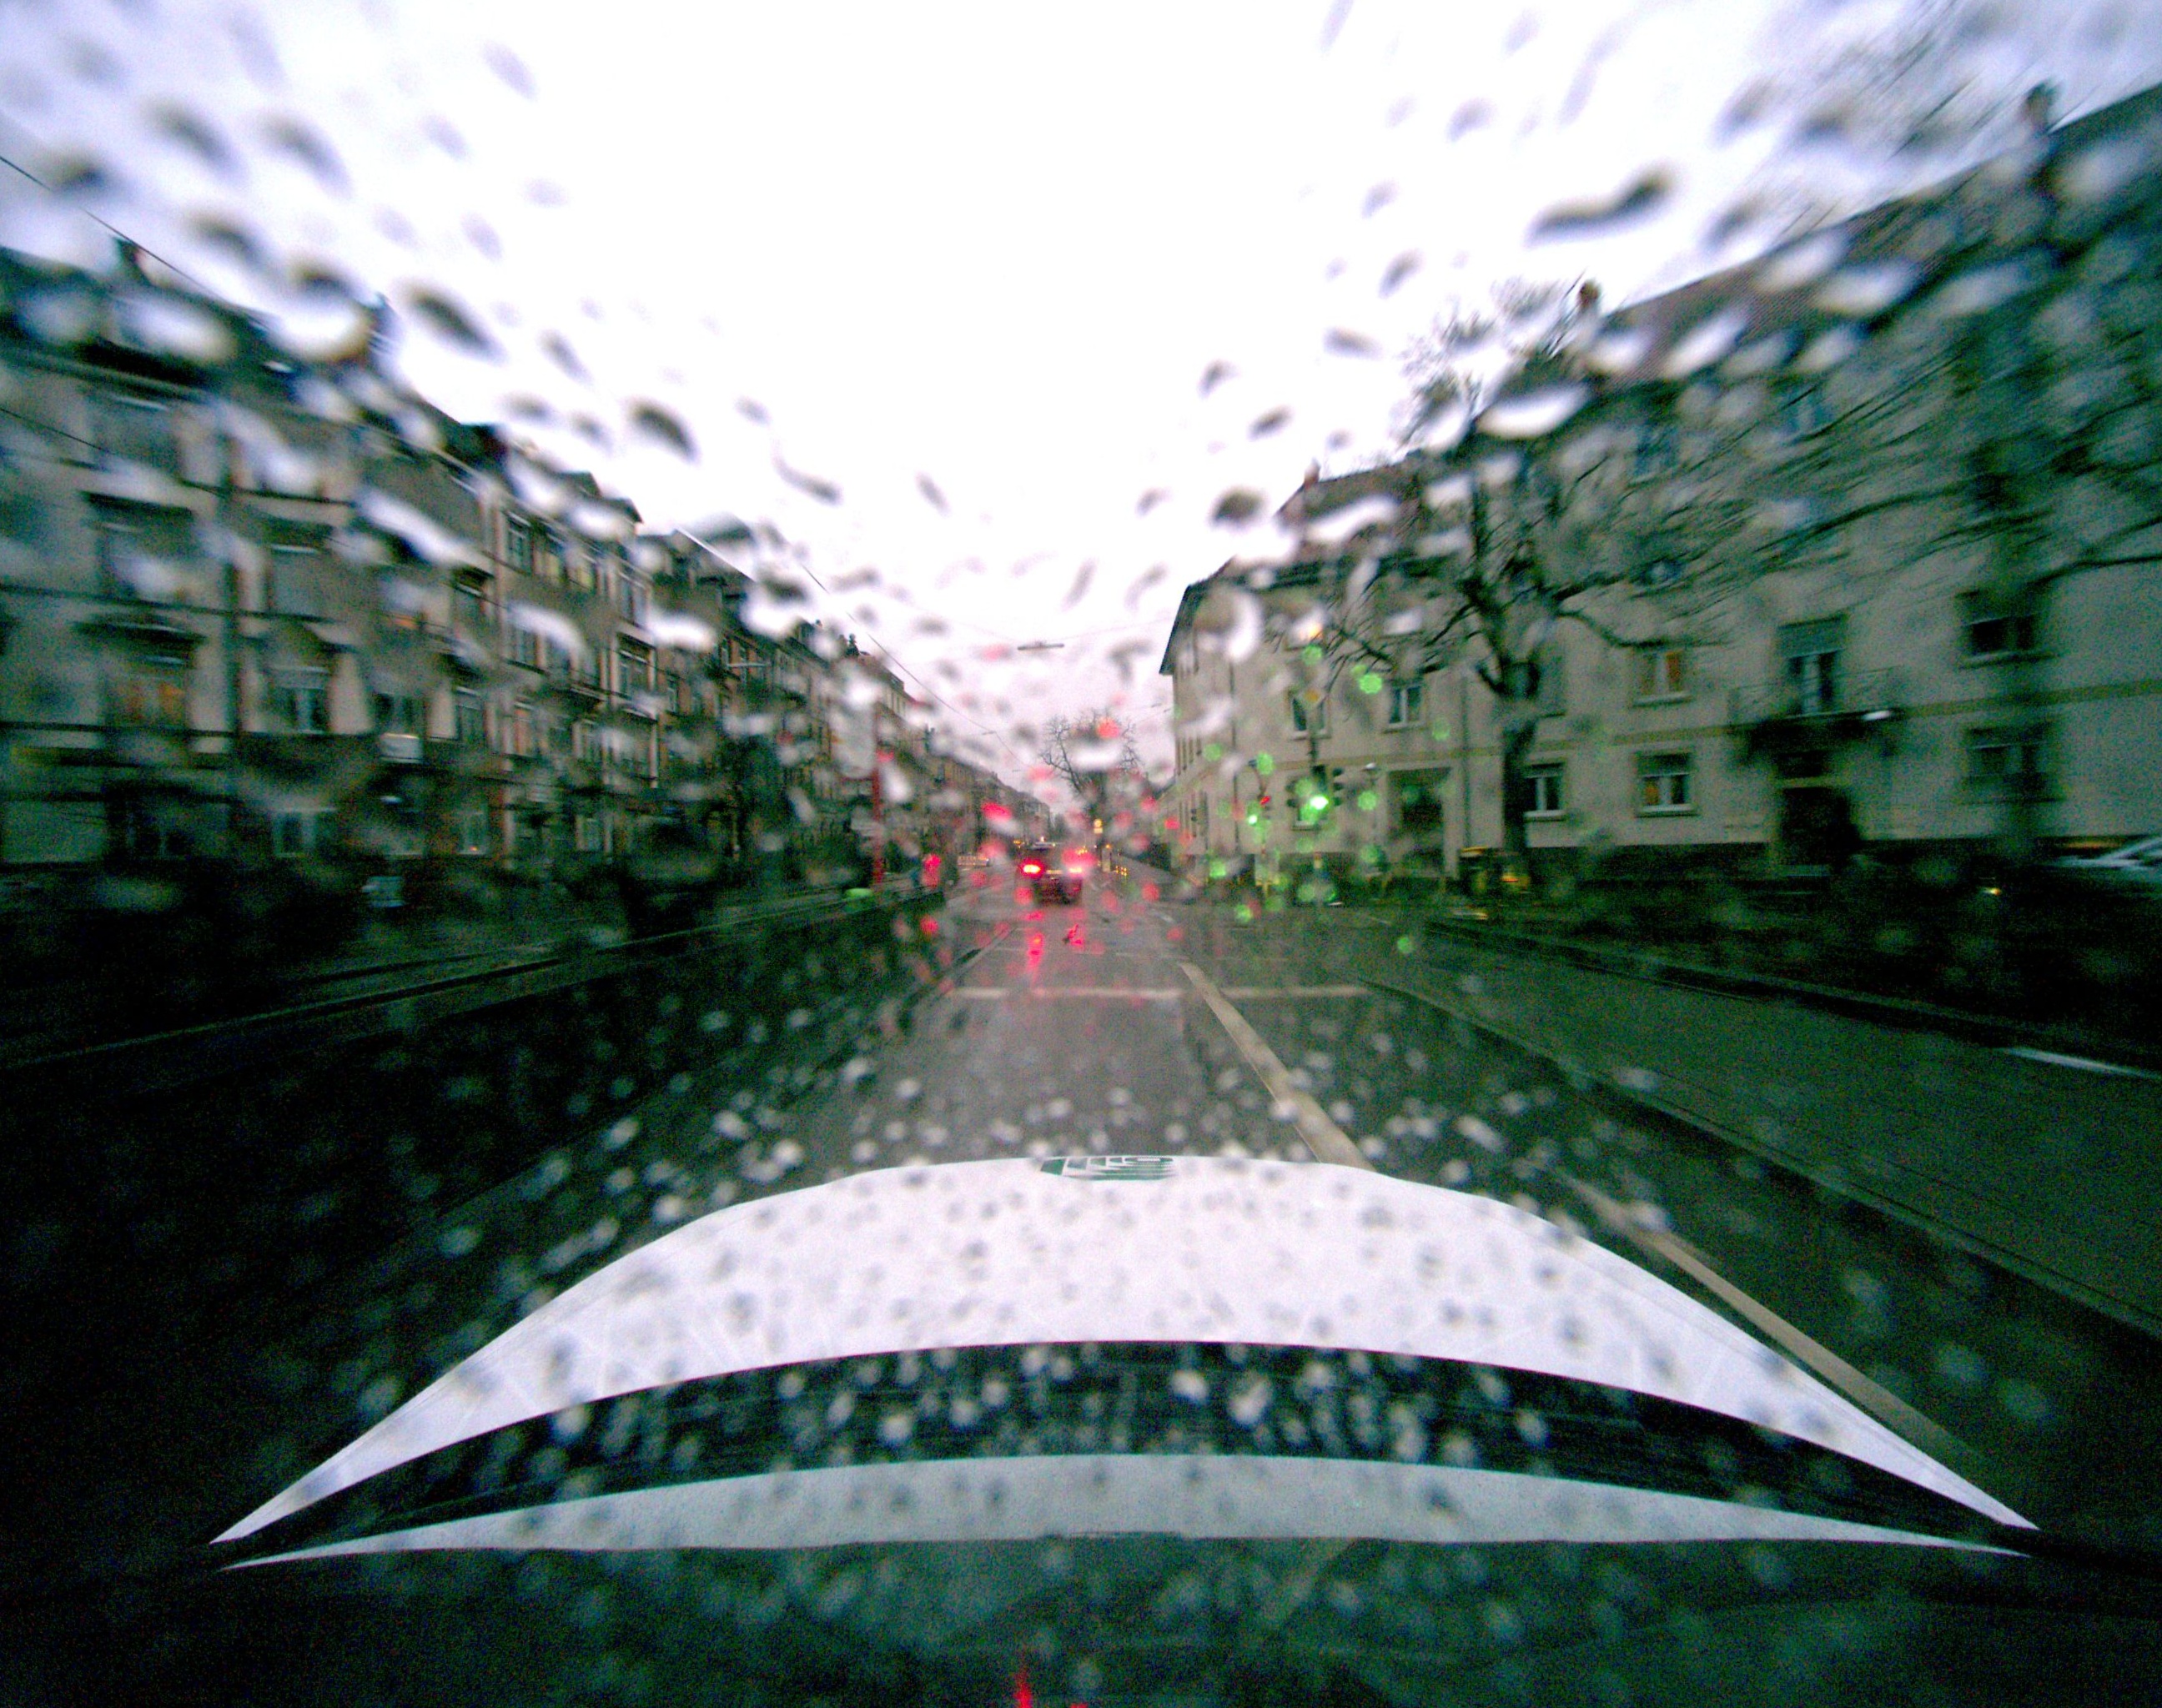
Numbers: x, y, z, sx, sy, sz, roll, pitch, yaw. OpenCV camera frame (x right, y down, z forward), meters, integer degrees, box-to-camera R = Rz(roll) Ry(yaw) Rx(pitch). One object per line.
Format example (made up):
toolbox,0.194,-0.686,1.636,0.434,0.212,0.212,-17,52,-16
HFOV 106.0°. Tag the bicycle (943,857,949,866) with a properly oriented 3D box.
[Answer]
bicycle,-13.828,0.783,83.383,0.262,0.915,1.686,4,1,1

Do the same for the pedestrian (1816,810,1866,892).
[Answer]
pedestrian,15.819,-0.075,16.957,0.692,1.660,0.706,-3,1,-45

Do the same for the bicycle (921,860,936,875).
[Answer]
bicycle,-11.244,0.967,59.976,0.679,1.007,1.804,-2,0,3

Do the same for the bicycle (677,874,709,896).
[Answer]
bicycle,-16.744,1.343,35.177,0.398,0.862,1.850,-1,0,3

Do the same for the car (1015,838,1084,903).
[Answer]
car,-1.062,0.458,25.491,1.800,1.870,4.008,1,0,-7

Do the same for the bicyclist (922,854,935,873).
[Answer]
bicyclist,-11.227,0.717,60.040,0.702,1.364,0.944,0,0,2

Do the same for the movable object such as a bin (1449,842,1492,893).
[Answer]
movable object such as a bin,9.895,0.340,20.710,0.844,1.251,0.525,1,0,44

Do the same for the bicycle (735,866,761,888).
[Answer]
bicycle,-16.358,1.107,40.003,0.414,1.007,1.850,-1,0,3

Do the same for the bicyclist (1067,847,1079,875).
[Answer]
bicyclist,-0.516,0.428,52.271,0.727,1.736,0.766,-1,0,2

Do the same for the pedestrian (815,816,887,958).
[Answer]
pedestrian,-3.236,0.446,11.503,0.682,1.917,0.720,1,0,13

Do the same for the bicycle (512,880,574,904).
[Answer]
bicycle,-19.272,1.353,29.227,0.395,0.759,1.822,-1,0,37

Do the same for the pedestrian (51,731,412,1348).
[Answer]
pedestrian,-2.742,0.542,2.688,0.555,1.807,0.571,1,0,2

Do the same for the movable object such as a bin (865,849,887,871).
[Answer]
movable object such as a bin,-15.220,0.415,60.497,1.238,1.585,1.310,-1,0,6

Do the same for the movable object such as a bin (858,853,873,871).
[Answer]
movable object such as a bin,-15.737,0.587,59.495,0.892,1.292,0.746,-1,0,-1

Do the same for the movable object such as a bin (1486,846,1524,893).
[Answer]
movable object such as a bin,10.498,0.376,20.152,0.692,1.120,0.542,1,0,44

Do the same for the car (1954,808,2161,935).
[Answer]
car,14.006,0.172,9.654,1.907,1.510,4.704,-1,-1,-33

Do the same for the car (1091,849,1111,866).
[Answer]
car,1.878,0.332,75.901,1.779,1.509,3.988,-2,0,1

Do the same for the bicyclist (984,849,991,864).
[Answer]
bicyclist,-10.337,0.262,90.082,0.681,1.616,0.766,-1,0,2

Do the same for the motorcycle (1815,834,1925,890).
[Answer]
motorcycle,16.878,0.163,17.458,0.572,1.105,1.586,-5,2,-34

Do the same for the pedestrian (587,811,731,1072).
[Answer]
pedestrian,-2.907,0.573,5.653,0.655,1.708,0.571,1,0,2
